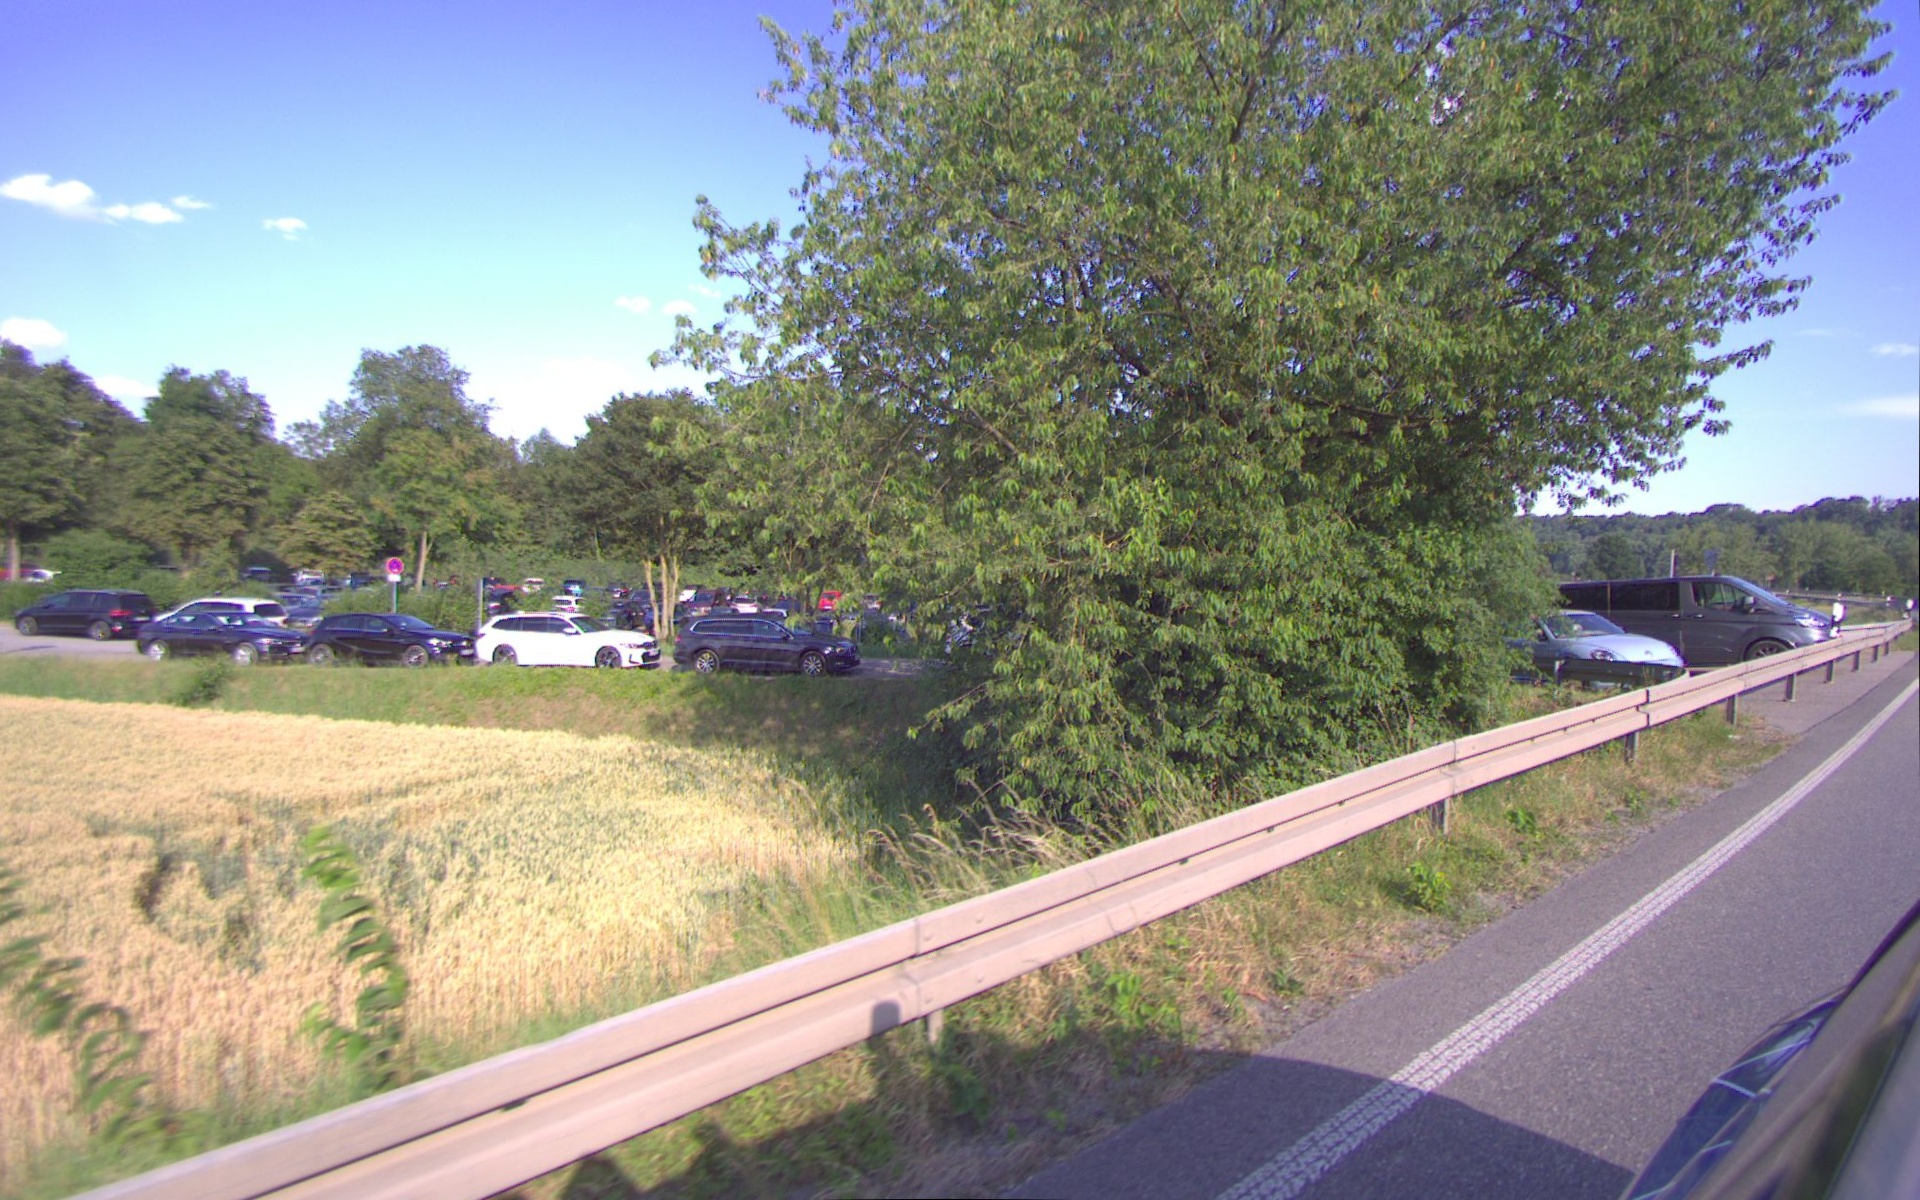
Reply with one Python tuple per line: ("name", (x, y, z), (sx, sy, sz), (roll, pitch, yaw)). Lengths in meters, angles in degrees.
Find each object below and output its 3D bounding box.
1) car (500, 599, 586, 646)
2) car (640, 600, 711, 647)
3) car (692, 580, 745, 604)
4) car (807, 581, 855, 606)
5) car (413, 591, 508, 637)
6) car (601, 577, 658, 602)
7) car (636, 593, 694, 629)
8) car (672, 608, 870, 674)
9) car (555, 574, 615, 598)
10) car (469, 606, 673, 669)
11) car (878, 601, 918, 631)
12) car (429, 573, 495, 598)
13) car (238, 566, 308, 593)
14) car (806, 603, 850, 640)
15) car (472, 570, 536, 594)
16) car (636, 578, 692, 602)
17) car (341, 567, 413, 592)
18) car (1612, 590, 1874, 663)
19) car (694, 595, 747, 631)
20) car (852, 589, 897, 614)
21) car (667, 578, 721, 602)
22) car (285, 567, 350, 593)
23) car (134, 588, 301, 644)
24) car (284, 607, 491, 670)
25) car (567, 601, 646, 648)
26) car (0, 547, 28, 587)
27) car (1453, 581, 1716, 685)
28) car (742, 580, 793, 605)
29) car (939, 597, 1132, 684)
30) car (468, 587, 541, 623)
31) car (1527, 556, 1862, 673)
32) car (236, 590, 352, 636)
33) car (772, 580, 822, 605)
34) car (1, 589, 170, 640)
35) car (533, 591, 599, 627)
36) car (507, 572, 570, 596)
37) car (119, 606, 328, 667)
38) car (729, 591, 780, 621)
("car", (-16.906, 0.853, 41.254), (1.768, 1.712, 4.599), (1, 1, -2))
("car", (-11.597, 0.930, 41.554), (1.768, 1.712, 4.599), (1, 1, -2))
("car", (-17.529, -0.614, 73.786), (1.778, 1.712, 4.574), (1, 1, 16))
("car", (-9.210, -0.514, 72.655), (1.778, 1.712, 4.574), (1, 1, 16))
("car", (-20.413, 0.509, 41.582), (1.768, 1.712, 4.599), (1, 1, -2))
("car", (-24.455, -0.799, 75.010), (1.778, 1.712, 4.574), (1, 1, 16))
("car", (-15.140, 0.544, 52.208), (1.768, 1.712, 4.599), (1, 1, -2))
("car", (-4.639, 0.979, 25.141), (4.456, 1.526, 1.995), (0, 0, 10))
("car", (-27.493, -1.057, 74.393), (1.778, 1.712, 4.574), (1, 1, 16))
("car", (-9.981, 0.927, 26.104), (4.568, 1.526, 1.995), (0, 0, 10))
("car", (-3.787, 0.951, 62.161), (1.772, 1.712, 4.590), (1, 1, 5))
("car", (-36.410, -1.065, 74.072), (1.778, 1.712, 4.574), (1, 1, 16))
("car", (-46.706, -1.384, 68.877), (1.768, 1.712, 4.599), (1, 1, -2))
("car", (-6.740, 1.077, 52.083), (1.768, 1.712, 4.599), (1, 1, -2))
("car", (-33.146, -1.319, 73.679), (1.778, 1.712, 4.574), (1, 1, 16))
("car", (-21.634, -0.750, 74.172), (1.778, 1.712, 4.574), (1, 1, 16))
("car", (-41.653, -1.482, 72.403), (1.778, 1.712, 4.574), (1, 1, 16))
("car", (17.576, 0.621, 22.969), (4.266, 1.418, 1.710), (-3, -3, 18))
("car", (-12.345, 0.633, 52.401), (1.768, 1.712, 4.599), (1, 1, -2))
("car", (-6.058, 0.072, 72.174), (1.778, 1.712, 4.574), (1, 1, 16))
("car", (-19.446, -0.763, 74.228), (1.778, 1.712, 4.574), (1, 1, 16))
("car", (-44.873, -1.384, 70.805), (1.768, 1.712, 4.600), (1, 1, -3))
("car", (-25.783, 0.526, 35.202), (4.566, 1.637, 1.996), (3, 1, 8))
("car", (-15.072, 0.979, 26.738), (4.568, 1.526, 1.995), (0, 0, 10))
("car", (-14.427, 0.961, 41.521), (1.768, 1.712, 4.599), (1, 1, -2))
("car", (-57.206, -1.968, 59.015), (5.615, 2.270, 2.340), (2, 3, 27))
("car", (10.950, 0.639, 18.134), (1.644, 1.575, 4.014), (-2, -3, -10))
("car", (-13.876, -0.568, 73.269), (1.778, 1.712, 4.574), (1, 1, 16))
("car", (1.786, 0.872, 23.598), (4.163, 1.769, 1.801), (2, 1, 19))
("car", (-23.123, 0.232, 51.584), (1.768, 1.712, 4.599), (1, 1, -2))
("car", (14.639, 0.387, 20.424), (5.137, 1.969, 1.944), (-6, -4, 44))
("car", (-26.858, 0.475, 41.009), (1.768, 1.712, 4.599), (1, 1, -2))
("car", (-11.749, -0.562, 73.187), (1.778, 1.712, 4.574), (1, 1, 16))
("car", (-30.637, 0.473, 35.524), (4.566, 1.526, 1.996), (3, 1, 8))
("car", (-20.244, 0.412, 52.218), (1.768, 1.712, 4.599), (1, 1, -2))
("car", (-30.692, -1.162, 73.811), (1.778, 1.712, 4.574), (1, 1, 16))
("car", (-19.890, 0.951, 27.407), (4.568, 1.526, 1.995), (0, 0, 10))
("car", (-12.423, 0.328, 61.512), (1.772, 1.712, 4.590), (1, 1, 5))
